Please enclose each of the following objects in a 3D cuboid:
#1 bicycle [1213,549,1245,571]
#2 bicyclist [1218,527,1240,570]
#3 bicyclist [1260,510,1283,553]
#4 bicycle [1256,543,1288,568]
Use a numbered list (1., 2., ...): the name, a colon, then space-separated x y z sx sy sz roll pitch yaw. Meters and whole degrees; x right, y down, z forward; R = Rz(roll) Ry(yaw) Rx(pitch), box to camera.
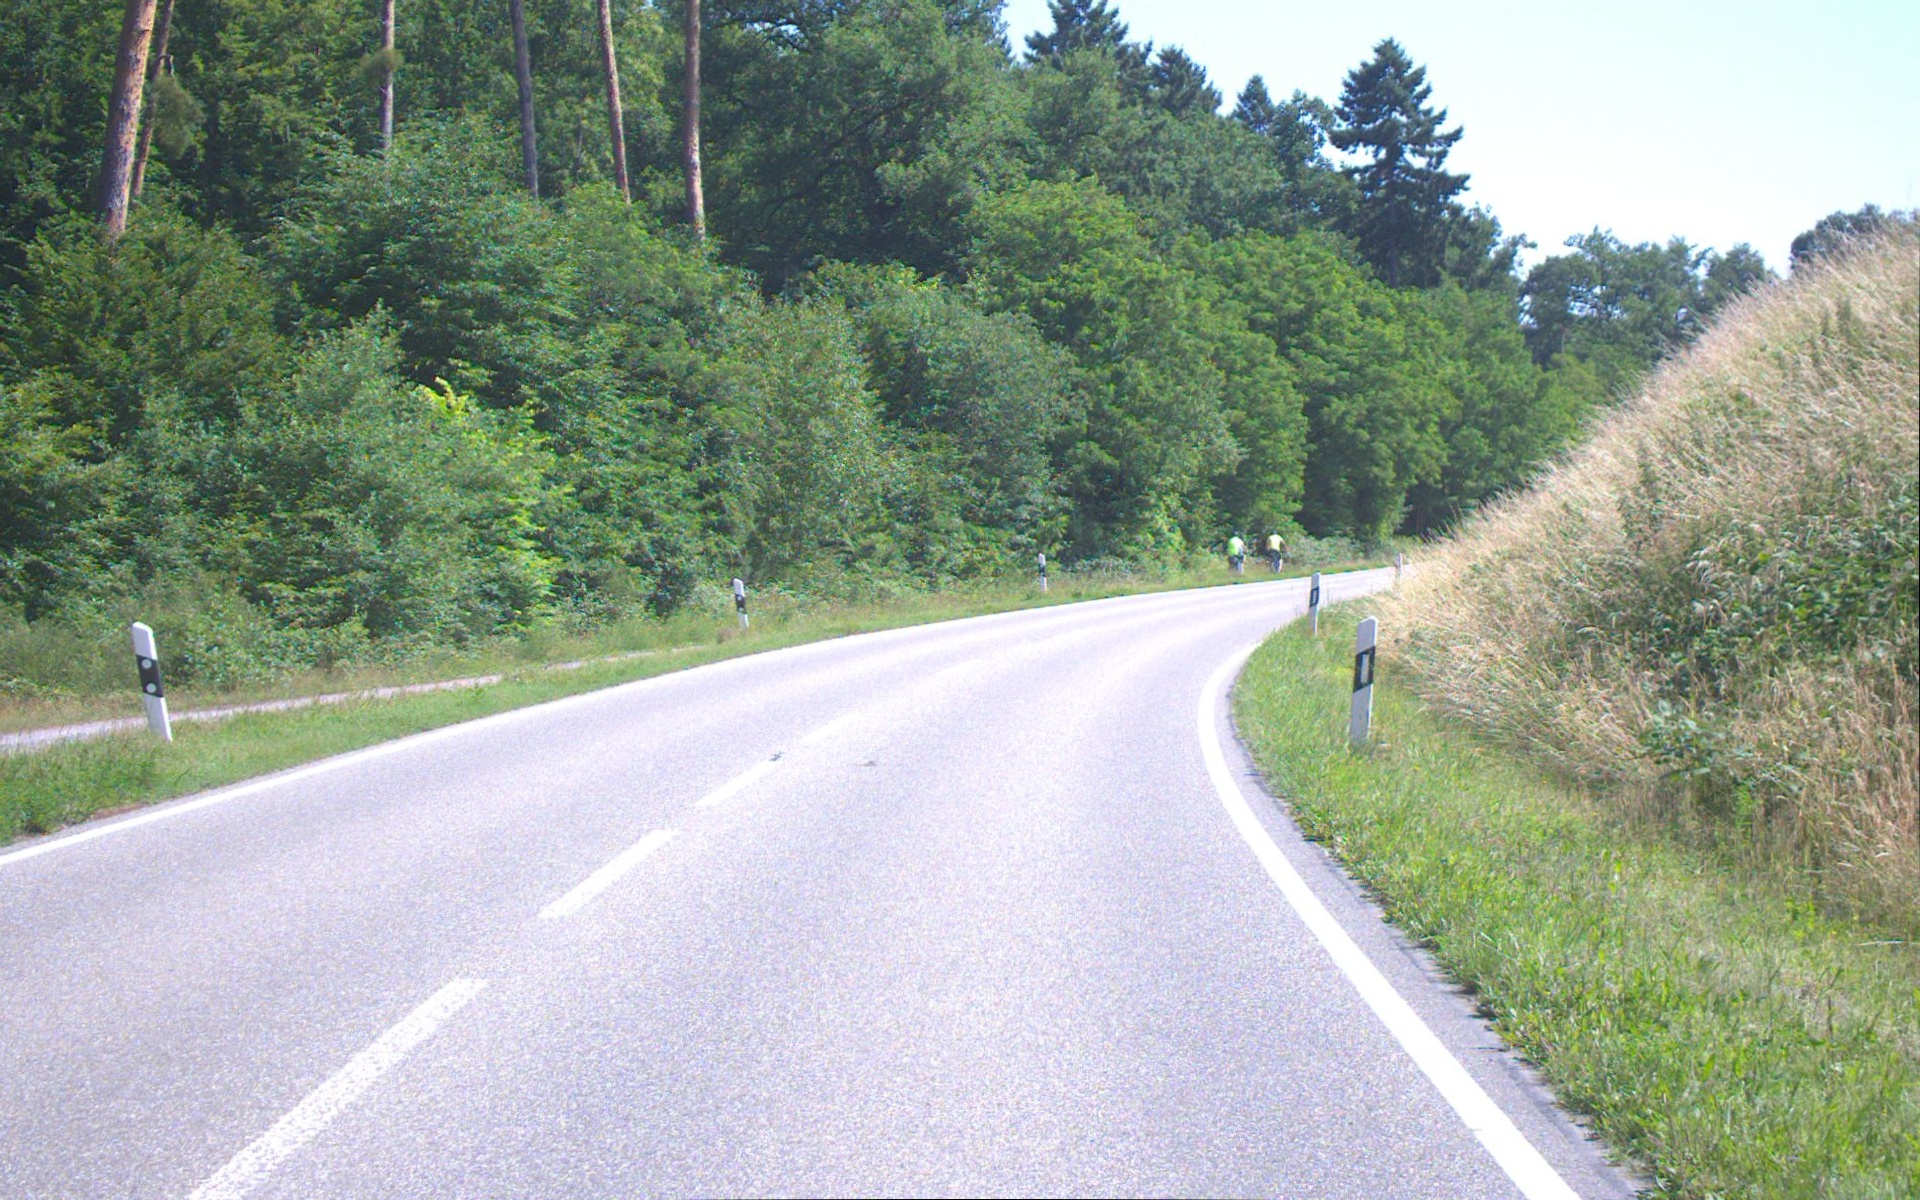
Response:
1. bicycle: 9.037 -1.342 115.310 0.619 0.679 2.135 -2 1 17
2. bicyclist: 9.026 -1.717 115.272 0.605 1.410 0.702 0 0 17
3. bicyclist: 10.363 -2.290 114.392 0.605 1.410 0.702 0 2 17
4. bicycle: 10.382 -1.492 114.350 0.640 0.785 2.135 -2 1 17
